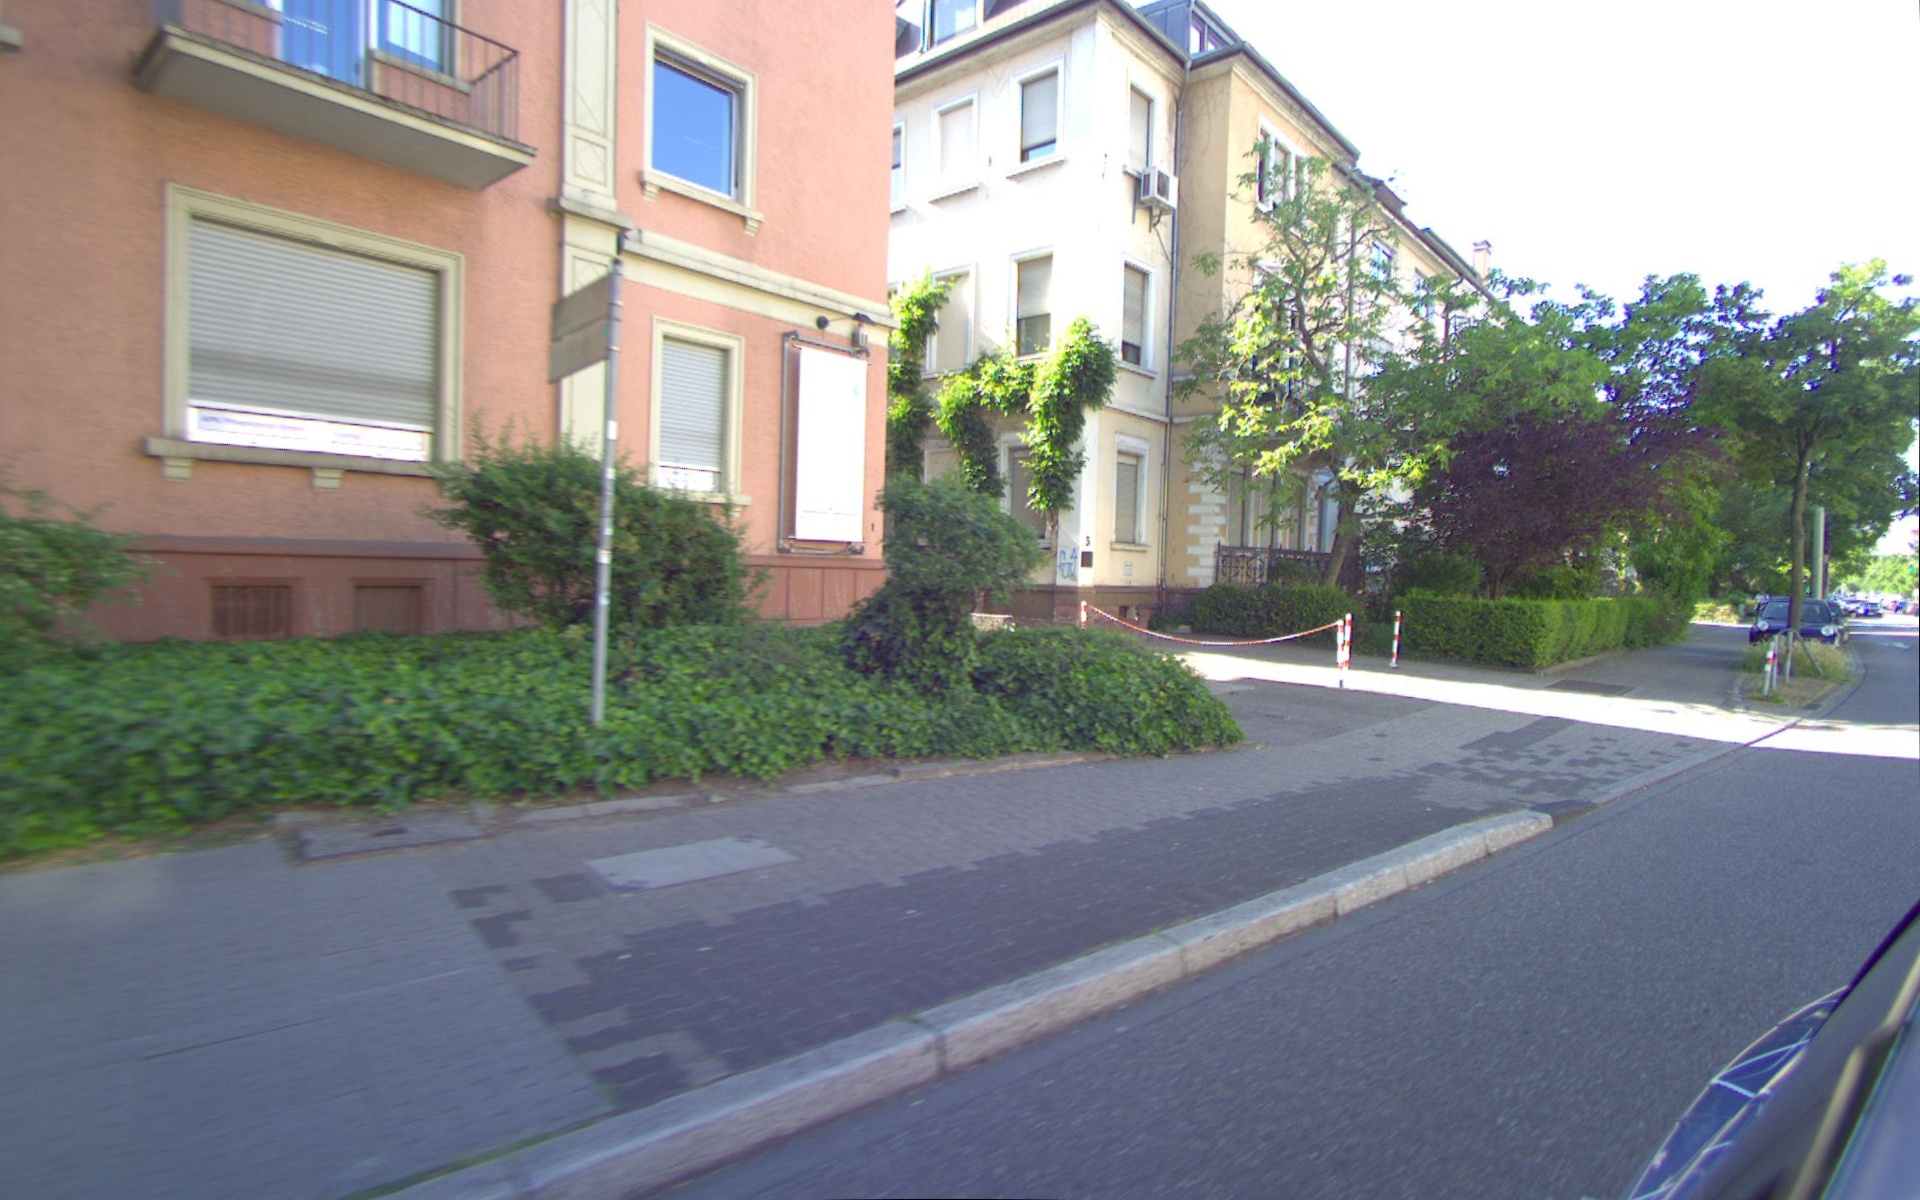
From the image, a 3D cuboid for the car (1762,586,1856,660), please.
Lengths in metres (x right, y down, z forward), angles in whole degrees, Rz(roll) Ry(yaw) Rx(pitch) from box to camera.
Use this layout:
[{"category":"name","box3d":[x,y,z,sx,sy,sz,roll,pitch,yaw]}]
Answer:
[{"category":"car","box3d":[20.580,0.496,24.608,1.558,1.533,3.602,6,4,39]}]

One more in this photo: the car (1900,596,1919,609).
[{"category":"car","box3d":[120.831,0.311,128.614,1.579,1.469,3.692,3,2,39]}]

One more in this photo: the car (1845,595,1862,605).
[{"category":"car","box3d":[139.213,0.003,157.669,1.817,1.570,4.239,3,3,42]}]

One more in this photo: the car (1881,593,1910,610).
[{"category":"car","box3d":[78.697,0.110,85.130,1.649,1.372,4.239,3,3,42]}]

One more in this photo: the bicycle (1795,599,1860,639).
[{"category":"bicycle","box3d":[28.563,0.610,33.337,1.637,1.252,0.471,2,1,4]}]

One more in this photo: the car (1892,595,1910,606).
[{"category":"car","box3d":[132.217,0.010,142.213,1.579,1.469,3.692,3,2,39]}]

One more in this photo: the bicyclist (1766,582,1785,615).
[{"category":"bicyclist","box3d":[46.202,-0.089,57.321,0.724,1.815,1.000,4,3,41]}]

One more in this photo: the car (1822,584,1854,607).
[{"category":"car","box3d":[70.927,-0.364,81.798,1.767,1.679,4.279,4,3,40]}]

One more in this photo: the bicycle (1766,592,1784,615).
[{"category":"bicycle","box3d":[46.225,0.193,57.396,0.698,1.262,1.794,4,3,41]}]

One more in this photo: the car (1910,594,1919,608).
[{"category":"car","box3d":[103.096,0.128,108.454,1.579,1.469,3.692,3,2,39]}]

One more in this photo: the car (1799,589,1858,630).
[{"category":"car","box3d":[35.825,0.345,41.804,1.712,1.507,4.173,4,3,40]}]

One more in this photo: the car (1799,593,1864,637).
[{"category":"car","box3d":[30.981,0.485,35.943,1.611,1.400,3.915,4,3,42]}]
